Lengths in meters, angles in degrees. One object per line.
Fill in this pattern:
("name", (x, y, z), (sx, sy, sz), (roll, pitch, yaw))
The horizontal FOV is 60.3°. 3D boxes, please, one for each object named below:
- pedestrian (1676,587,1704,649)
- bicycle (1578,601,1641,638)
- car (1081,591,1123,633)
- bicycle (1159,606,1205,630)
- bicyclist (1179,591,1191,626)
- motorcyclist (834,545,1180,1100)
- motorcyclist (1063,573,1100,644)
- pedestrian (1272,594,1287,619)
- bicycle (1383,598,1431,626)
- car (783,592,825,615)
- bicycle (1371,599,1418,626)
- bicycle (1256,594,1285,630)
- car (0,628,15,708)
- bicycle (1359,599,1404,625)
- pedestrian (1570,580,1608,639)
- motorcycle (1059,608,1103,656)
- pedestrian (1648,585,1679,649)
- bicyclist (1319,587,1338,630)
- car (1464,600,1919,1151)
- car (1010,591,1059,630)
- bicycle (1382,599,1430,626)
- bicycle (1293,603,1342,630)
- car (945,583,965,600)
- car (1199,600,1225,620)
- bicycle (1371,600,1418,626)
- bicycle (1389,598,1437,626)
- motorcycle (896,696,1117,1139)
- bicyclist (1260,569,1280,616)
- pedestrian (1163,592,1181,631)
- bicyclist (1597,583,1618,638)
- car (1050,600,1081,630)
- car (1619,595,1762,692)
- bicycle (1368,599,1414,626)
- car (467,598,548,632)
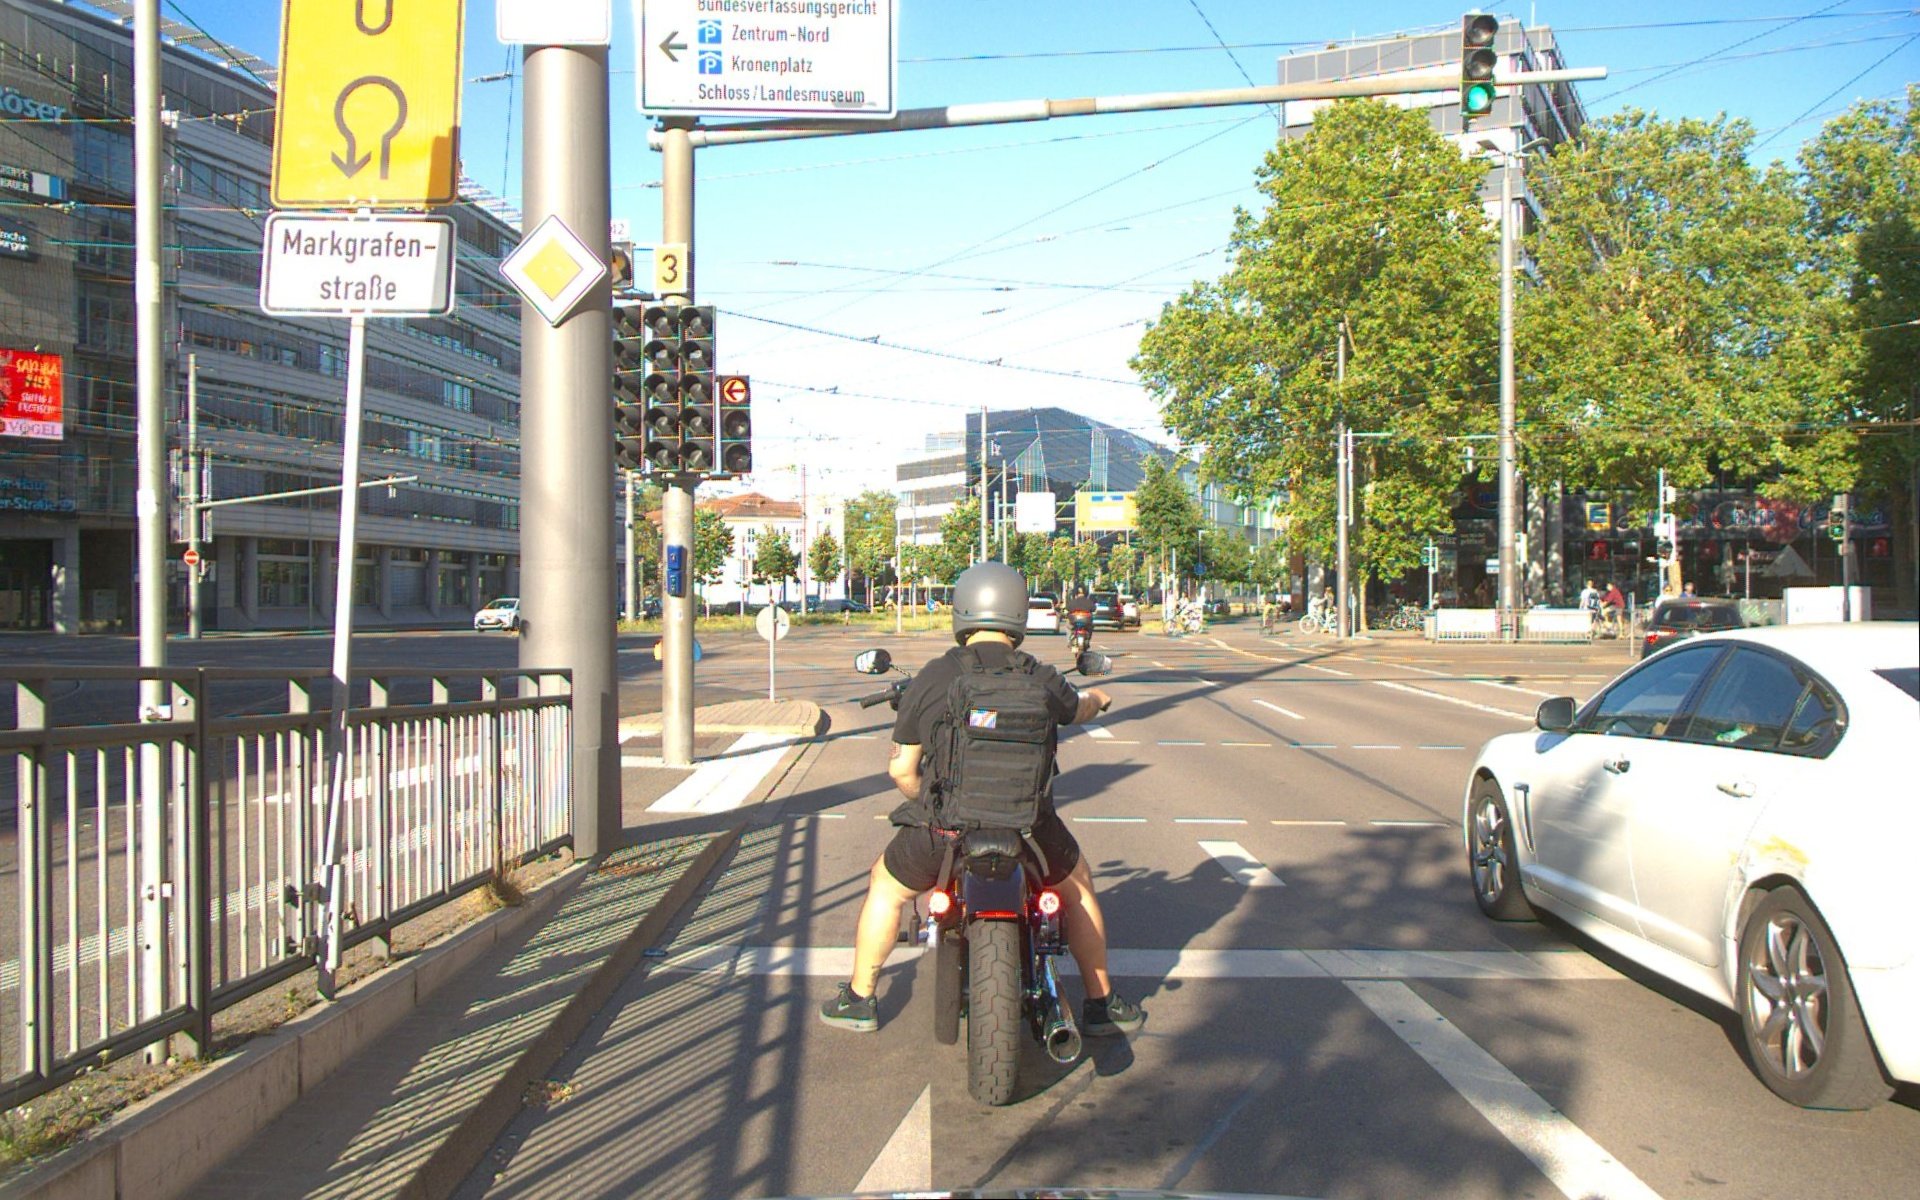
("pedestrian", (17.989, 0.437, 40.761), (0.554, 1.505, 0.702), (1, -1, 20))
("bicycle", (22.349, 0.677, 56.919), (2.001, 1.235, 0.421), (1, -1, -1))
("car", (6.367, 0.503, 74.440), (1.695, 1.762, 4.614), (1, 1, 3))
("bicycle", (9.026, 0.714, 67.200), (1.792, 0.942, 0.357), (1, -1, -9))
("bicyclist", (9.160, 0.351, 67.221), (0.374, 1.397, 0.344), (1, -1, -9))
("motorcyclist", (0.133, 0.648, 5.289), (1.009, 1.621, 0.873), (0, 0, -1))
("motorcyclist", (2.787, 0.197, 37.941), (0.780, 1.607, 0.529), (1, -1, -2))
("pedestrian", (17.573, 0.359, 90.945), (0.802, 1.337, 0.638), (1, -1, 8))
("bicycle", (18.045, 0.489, 66.775), (1.842, 1.065, 0.360), (1, -1, -2))
("car", (-10.827, 0.247, 115.226), (1.712, 1.550, 4.003), (1, -1, 13))
("bicycle", (18.189, 0.527, 69.269), (1.842, 1.064, 0.360), (1, 0, -2))
("bicycle", (12.252, 0.484, 65.366), (0.710, 1.391, 2.918), (1, -1, 3))
("car", (-14.539, 0.904, 22.408), (2.835, 1.081, 1.235), (1, -1, -22))
("bicycle", (18.072, 0.524, 70.917), (1.842, 1.064, 0.360), (1, 0, -2))
("pedestrian", (18.847, 0.289, 49.551), (0.816, 1.734, 0.759), (1, -1, -1))
("motorcycle", (2.770, 0.724, 38.066), (0.787, 1.069, 2.375), (1, -1, -1))
("pedestrian", (17.350, 0.419, 40.807), (0.554, 1.559, 0.703), (1, -1, 12))
("bicyclist", (14.564, 0.342, 65.398), (0.673, 1.702, 0.541), (0, -1, 18))
("car", (3.444, 0.741, 6.138), (1.766, 1.455, 4.452), (0, 0, 0))
("car", (2.982, 0.429, 66.875), (1.696, 1.482, 4.417), (1, -1, -1))
("bicycle", (18.229, 0.513, 67.595), (1.842, 1.065, 0.360), (1, -1, -2))
("bicycle", (14.162, 0.664, 65.529), (1.831, 1.062, 0.537), (0, -1, 18))
("car", (-0.602, -1.068, 205.052), (1.951, 2.049, 4.303), (1, -1, 5))
("car", (22.155, 0.865, 145.258), (1.765, 1.708, 4.043), (1, -1, 15))
("bicycle", (18.059, 0.532, 68.779), (1.842, 1.065, 0.360), (1, -1, -2))
("bicycle", (18.076, 0.470, 65.994), (1.842, 1.065, 0.360), (1, -1, -2))
("motorcycle", (0.111, 0.931, 5.629), (0.588, 1.054, 2.233), (1, 0, -1))
("bicyclist", (12.246, -0.306, 65.340), (0.682, 1.840, 0.729), (1, -1, 3))
("pedestrian", (8.802, 0.481, 68.688), (0.576, 1.584, 0.488), (1, -1, -9))
("bicyclist", (22.282, 0.361, 56.928), (0.572, 1.870, 0.402), (1, -1, -1))
("car", (6.225, 0.896, 97.867), (1.765, 1.708, 4.042), (1, -1, 3))
("car", (12.096, 0.661, 27.595), (1.695, 1.475, 4.043), (1, 0, 17))
("bicycle", (18.172, 0.524, 69.769), (1.842, 1.064, 0.360), (1, 0, -2))
("car", (-20.282, 0.639, 74.323), (1.786, 1.455, 4.534), (0, 0, 9))
